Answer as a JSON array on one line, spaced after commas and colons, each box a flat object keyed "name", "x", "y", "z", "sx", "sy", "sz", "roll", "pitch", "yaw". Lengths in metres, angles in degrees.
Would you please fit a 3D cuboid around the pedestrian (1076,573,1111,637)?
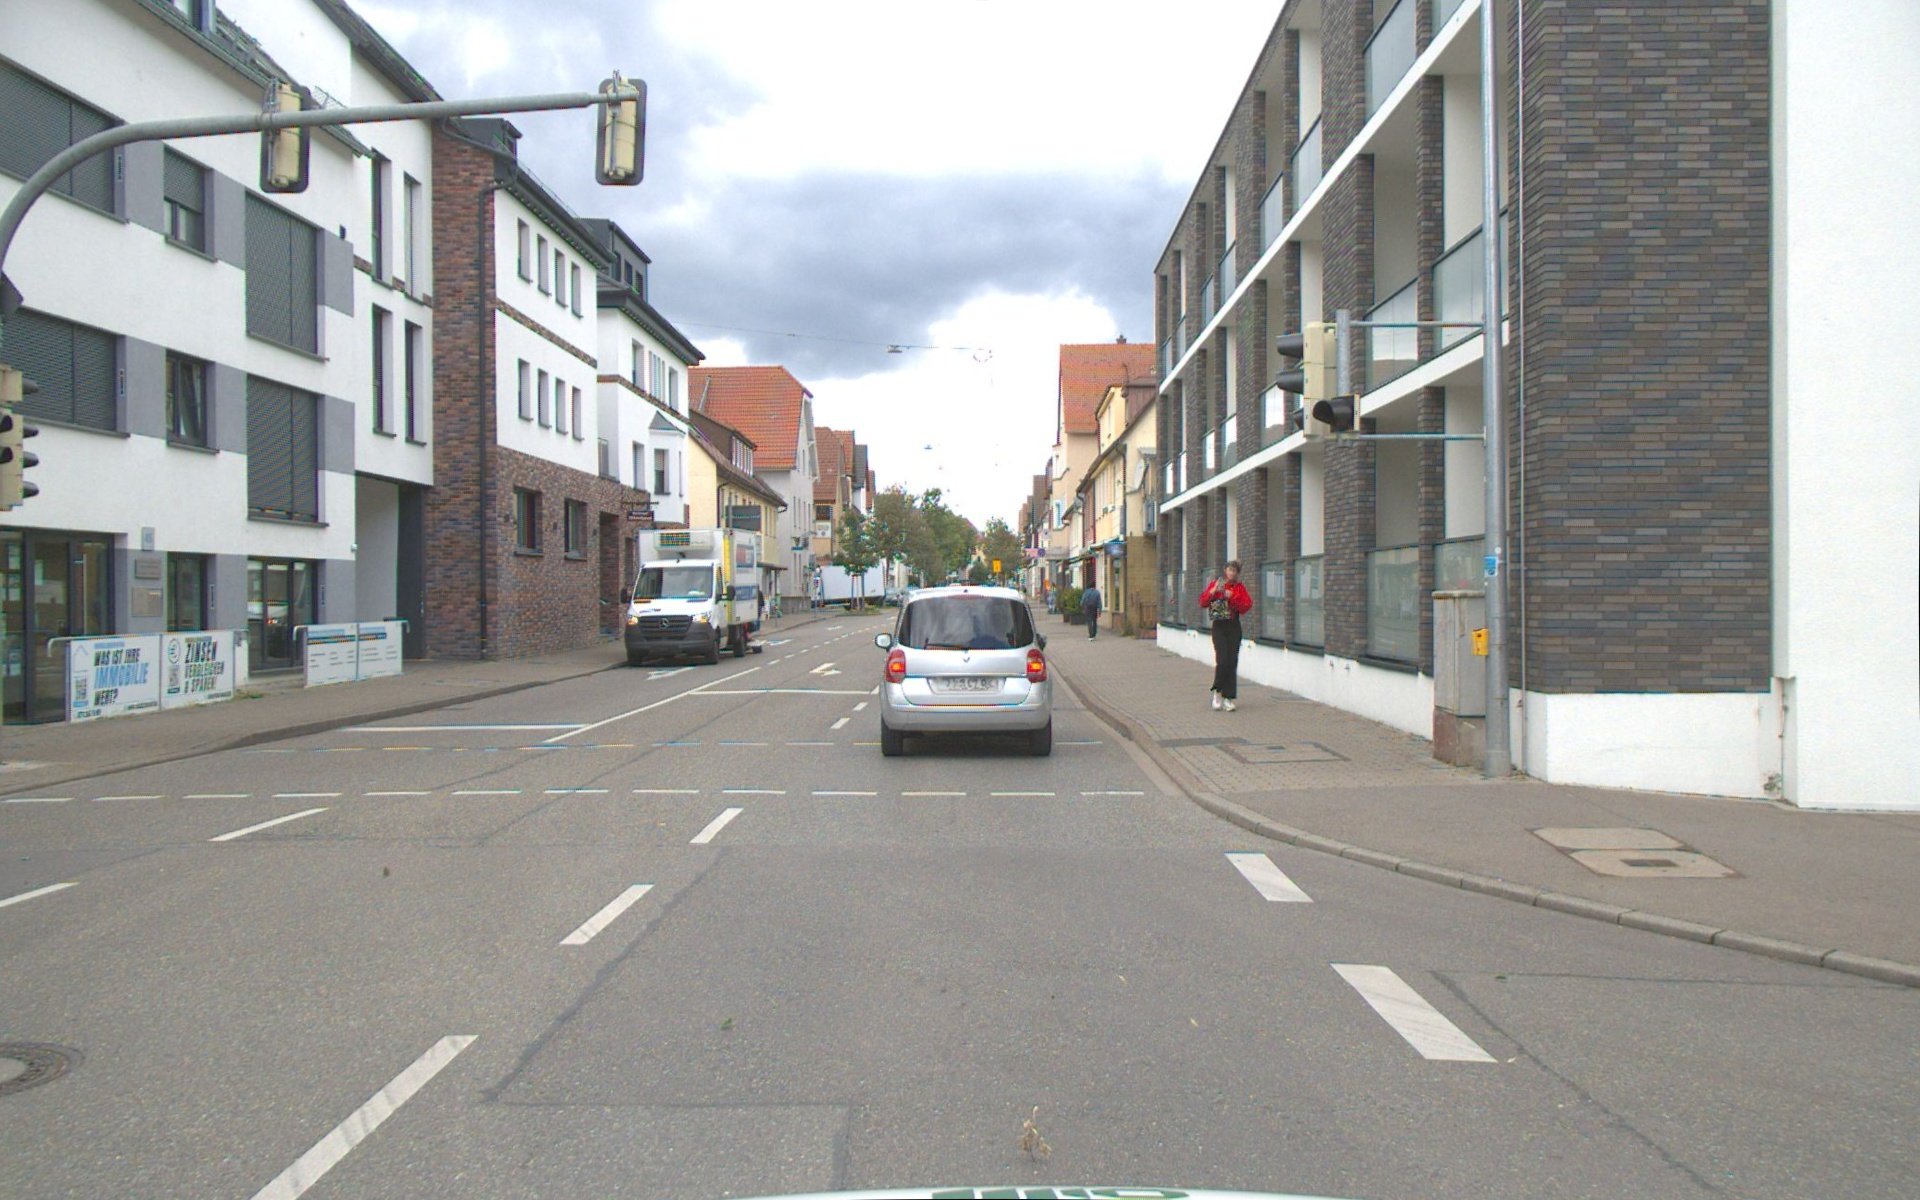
[{"name": "pedestrian", "x": 3.904, "y": 0.137, "z": 48.452, "sx": 0.871, "sy": 1.818, "sz": 0.785, "roll": -3, "pitch": 0, "yaw": 1}]

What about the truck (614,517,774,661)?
[{"name": "truck", "x": -6.070, "y": -0.259, "z": 39.046, "sx": 2.385, "sy": 3.005, "sz": 8.364, "roll": -1, "pitch": 0, "yaw": 0}]

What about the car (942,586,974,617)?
[{"name": "car", "x": -0.106, "y": 0.061, "z": 90.820, "sx": 1.671, "sy": 1.606, "sz": 4.000, "roll": 2, "pitch": 0, "yaw": 0}]

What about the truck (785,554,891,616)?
[{"name": "truck", "x": -8.158, "y": -1.008, "z": 110.344, "sx": 6.710, "sy": 3.925, "sz": 2.595, "roll": -1, "pitch": 0, "yaw": -14}]

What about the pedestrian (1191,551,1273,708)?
[{"name": "pedestrian", "x": 3.294, "y": 0.347, "z": 20.082, "sx": 0.791, "sy": 1.818, "sz": 0.861, "roll": -3, "pitch": 0, "yaw": 1}]

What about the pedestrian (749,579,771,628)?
[{"name": "pedestrian", "x": -7.261, "y": 0.124, "z": 60.148, "sx": 0.648, "sy": 1.787, "sz": 0.688, "roll": 1, "pitch": 0, "yaw": 1}]

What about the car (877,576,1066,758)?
[{"name": "car", "x": 0.110, "y": 0.591, "z": 16.997, "sx": 1.671, "sy": 1.606, "sz": 4.000, "roll": 2, "pitch": 0, "yaw": 0}]

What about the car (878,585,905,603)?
[{"name": "car", "x": -5.193, "y": -0.462, "z": 125.614, "sx": 1.775, "sy": 1.378, "sz": 4.001, "roll": -1, "pitch": 0, "yaw": 1}]

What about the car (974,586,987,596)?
[{"name": "car", "x": 2.958, "y": -1.246, "z": 238.639, "sx": 1.775, "sy": 1.378, "sz": 4.001, "roll": -1, "pitch": 0, "yaw": 1}]

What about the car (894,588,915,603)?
[{"name": "car", "x": -5.118, "y": -0.447, "z": 152.618, "sx": 1.775, "sy": 1.378, "sz": 4.001, "roll": -1, "pitch": 0, "yaw": 1}]

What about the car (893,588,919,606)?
[{"name": "car", "x": -4.266, "y": -0.264, "z": 131.081, "sx": 1.775, "sy": 1.378, "sz": 4.001, "roll": -1, "pitch": 0, "yaw": 1}]

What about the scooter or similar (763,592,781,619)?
[{"name": "scooter or similar", "x": -9.375, "y": 0.268, "z": 82.561, "sx": 0.563, "sy": 1.291, "sz": 2.549, "roll": -1, "pitch": 0, "yaw": 1}]

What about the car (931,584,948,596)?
[{"name": "car", "x": -2.287, "y": -1.161, "z": 187.945, "sx": 1.775, "sy": 1.378, "sz": 3.858, "roll": -1, "pitch": 0, "yaw": 1}]

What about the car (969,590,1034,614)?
[{"name": "car", "x": 2.509, "y": 0.125, "z": 100.473, "sx": 3.675, "sy": 1.337, "sz": 1.511, "roll": 2, "pitch": 0, "yaw": -21}]

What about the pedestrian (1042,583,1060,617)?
[{"name": "pedestrian", "x": 5.051, "y": -0.020, "z": 91.713, "sx": 0.871, "sy": 1.818, "sz": 0.785, "roll": -3, "pitch": 0, "yaw": 1}]
